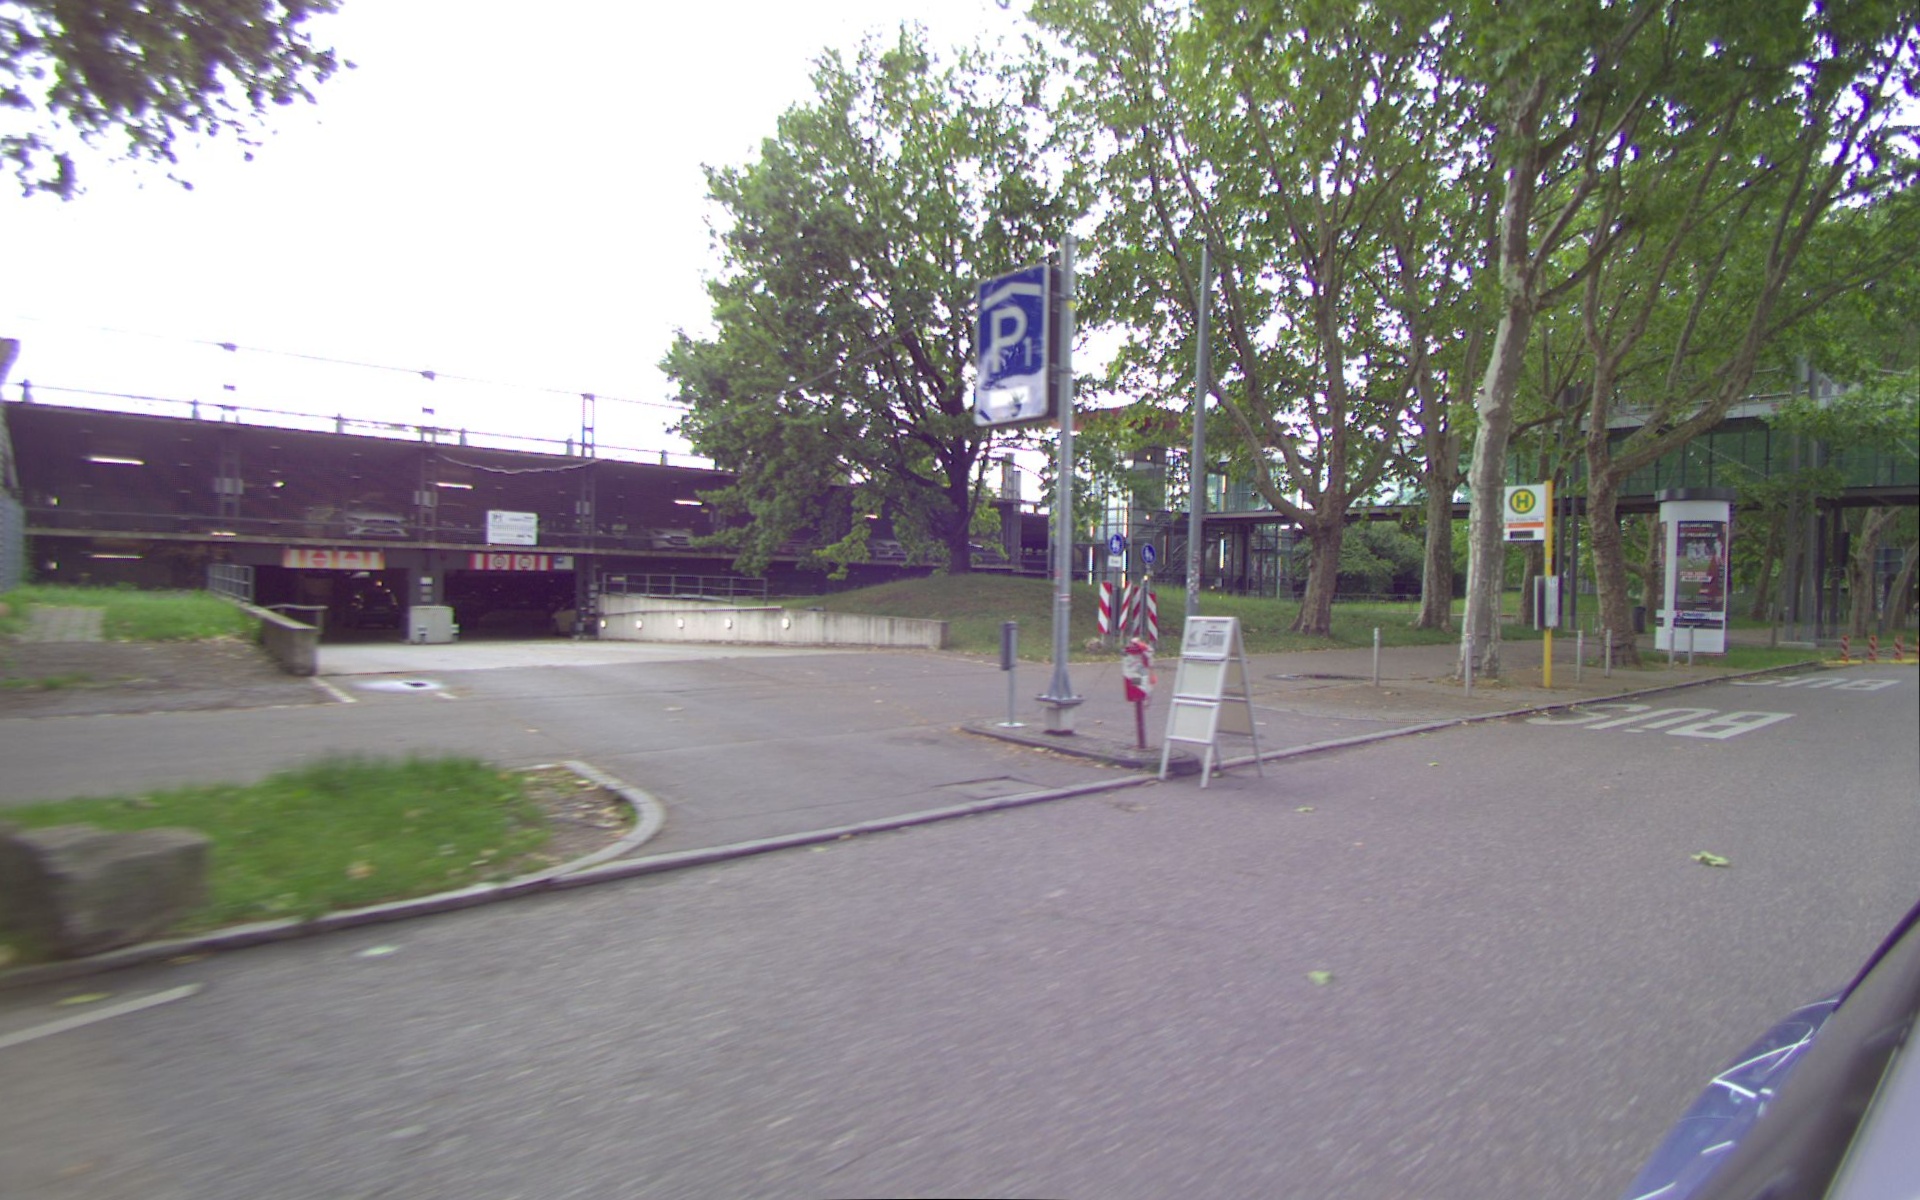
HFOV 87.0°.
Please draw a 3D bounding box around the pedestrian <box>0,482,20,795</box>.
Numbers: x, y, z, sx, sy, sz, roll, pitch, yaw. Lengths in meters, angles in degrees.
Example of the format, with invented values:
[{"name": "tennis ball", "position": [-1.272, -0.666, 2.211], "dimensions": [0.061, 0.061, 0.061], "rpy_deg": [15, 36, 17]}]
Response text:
[{"name": "pedestrian", "position": [-6.668, 0.253, 6.446], "dimensions": [0.864, 2.039, 0.712], "rpy_deg": [0, 0, -31]}]
